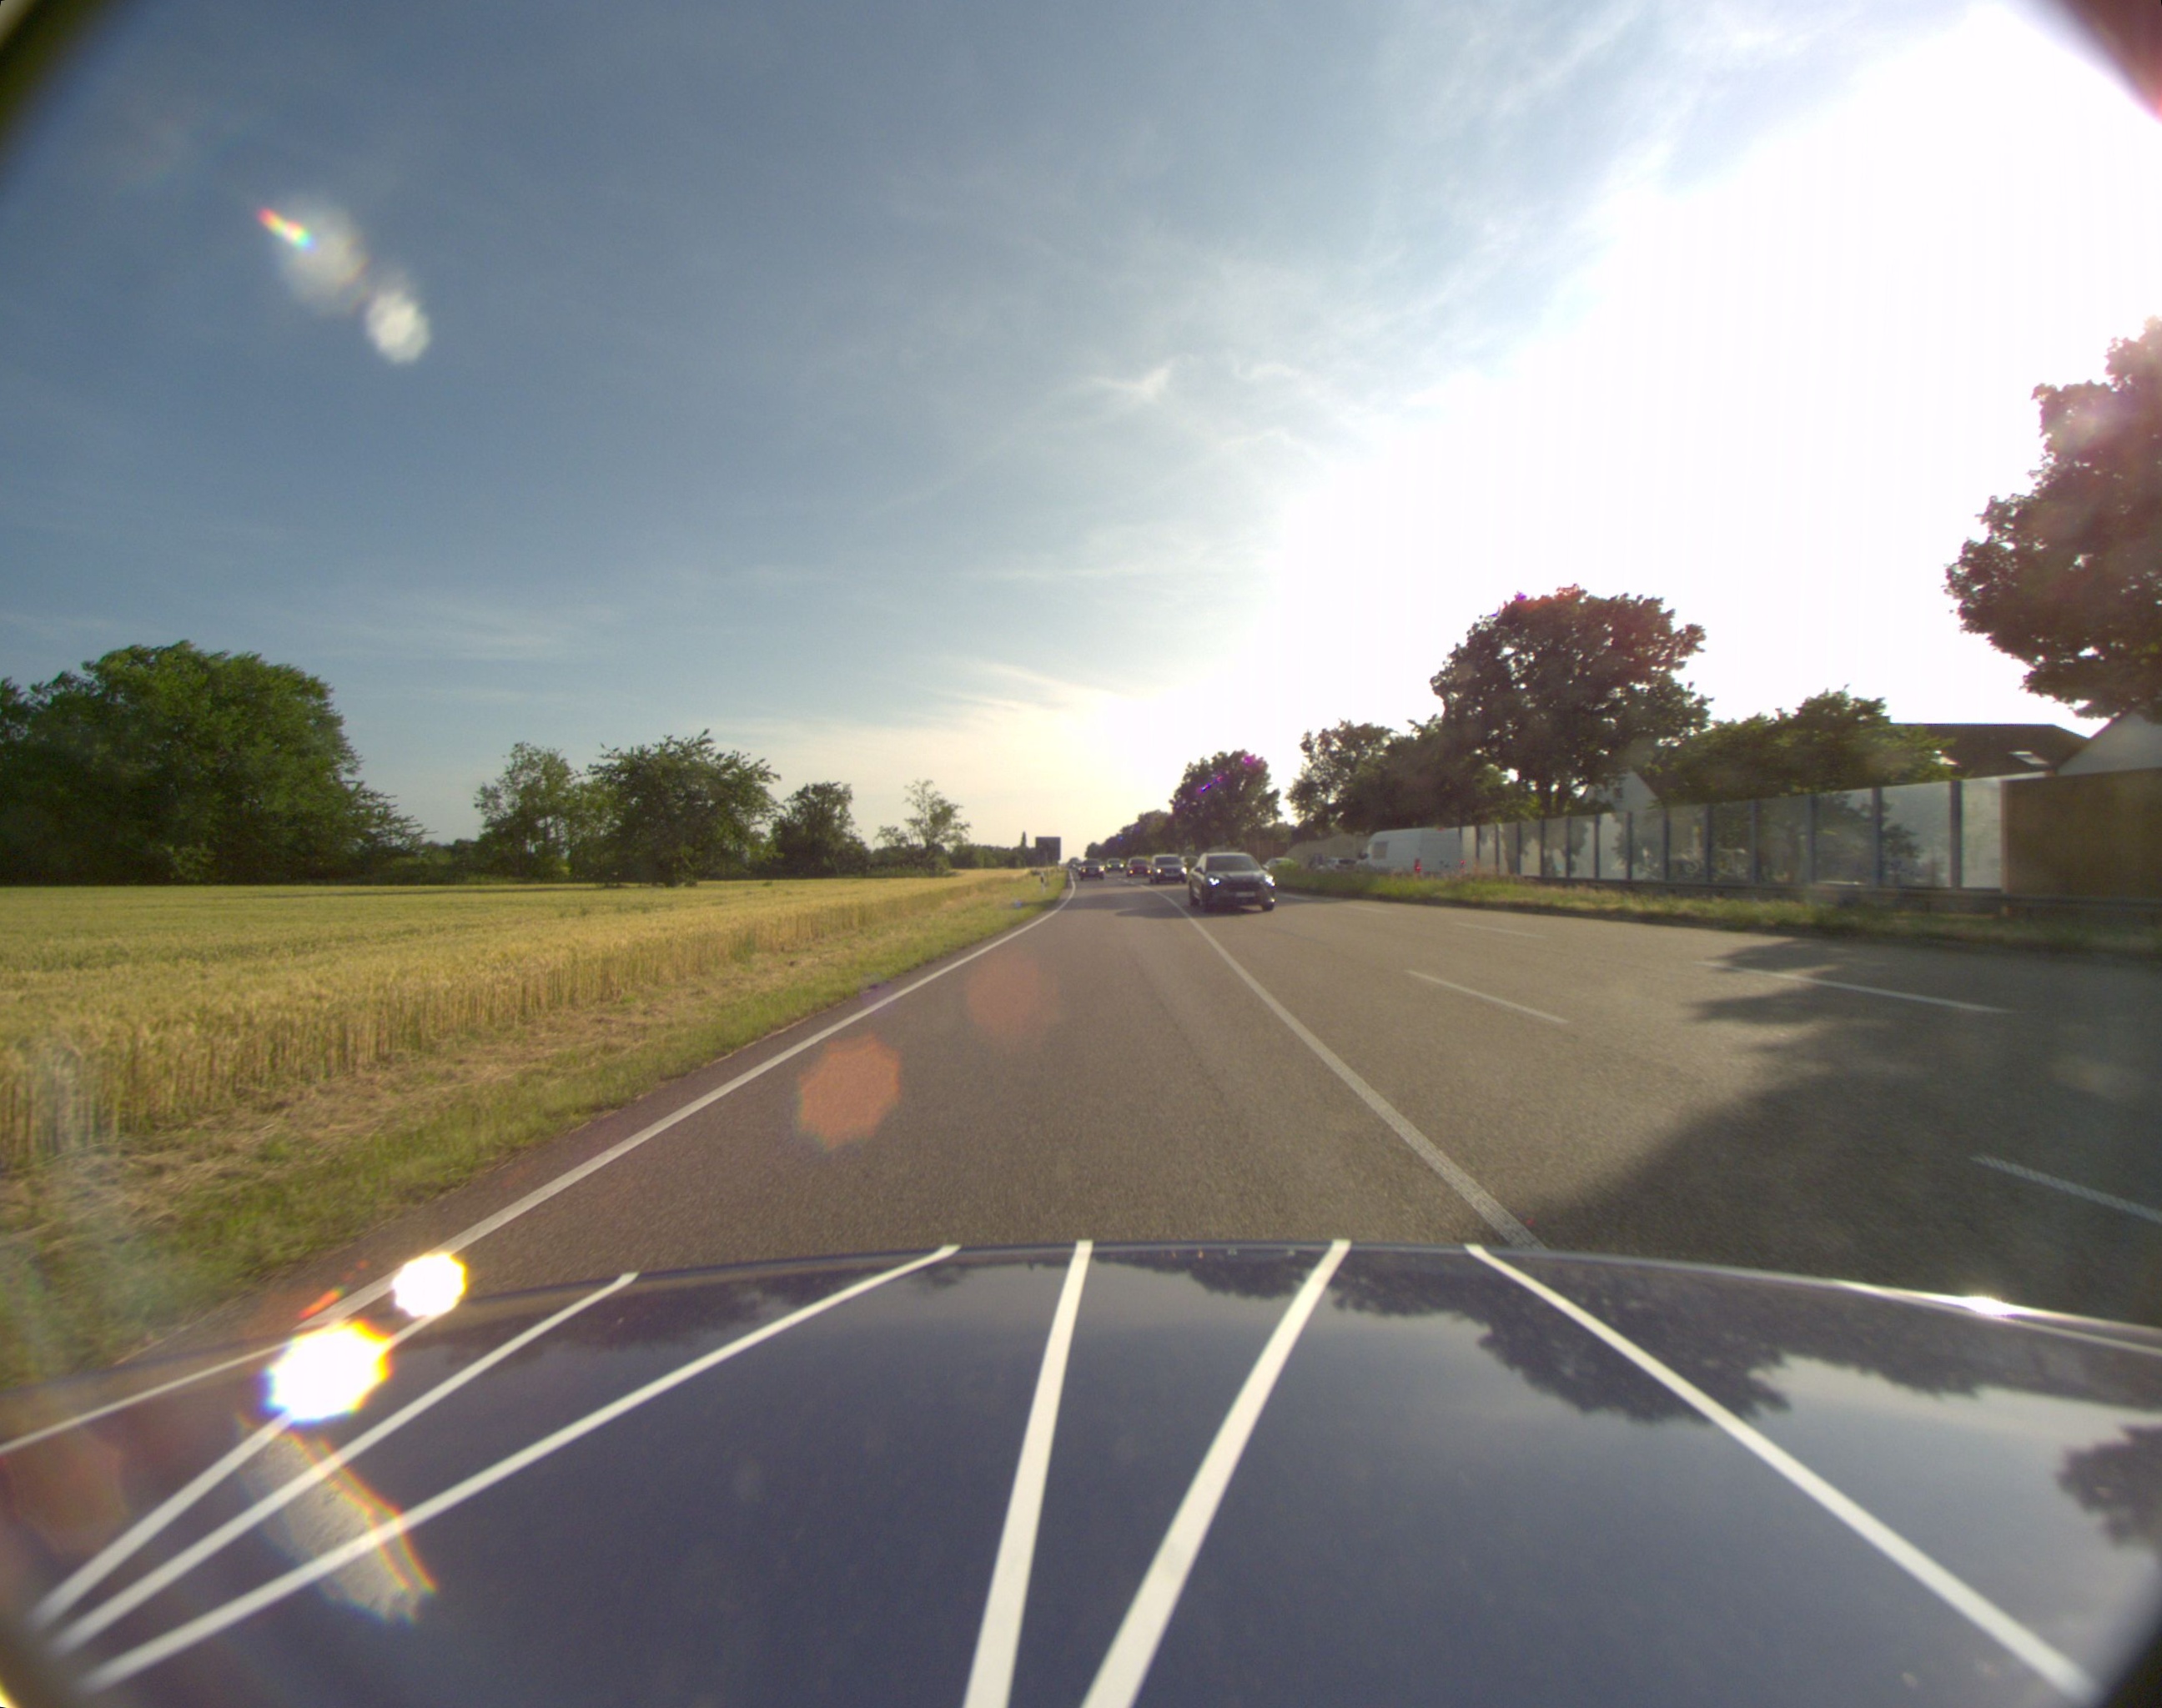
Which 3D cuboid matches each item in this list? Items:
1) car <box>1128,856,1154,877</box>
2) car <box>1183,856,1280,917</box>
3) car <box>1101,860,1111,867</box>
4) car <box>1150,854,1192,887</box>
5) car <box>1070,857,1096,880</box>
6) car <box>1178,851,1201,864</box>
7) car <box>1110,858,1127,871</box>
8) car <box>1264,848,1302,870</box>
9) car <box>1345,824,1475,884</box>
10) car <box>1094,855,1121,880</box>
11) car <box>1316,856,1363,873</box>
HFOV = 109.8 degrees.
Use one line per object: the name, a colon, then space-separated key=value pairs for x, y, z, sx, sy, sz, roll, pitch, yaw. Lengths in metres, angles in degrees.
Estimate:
car: x=5.137 y=1.028 z=65.195 sx=1.822 sy=1.661 sz=4.000 roll=-2 pitch=0 yaw=-1
car: x=4.142 y=0.846 z=21.623 sx=1.822 sy=1.516 sz=4.246 roll=-2 pitch=0 yaw=-1
car: x=4.756 y=1.813 z=145.296 sx=1.693 sy=1.397 sz=3.999 roll=-2 pitch=0 yaw=-1
car: x=5.126 y=0.926 z=43.839 sx=1.822 sy=1.724 sz=4.000 roll=-2 pitch=0 yaw=-1
car: x=0.121 y=1.064 z=57.957 sx=1.823 sy=1.661 sz=3.999 roll=-2 pitch=0 yaw=-1
car: x=13.363 y=0.469 z=93.735 sx=1.986 sy=1.475 sz=5.059 roll=-2 pitch=0 yaw=-2
car: x=4.617 y=1.300 z=94.269 sx=1.809 sy=1.499 sz=3.999 roll=-2 pitch=0 yaw=-2
car: x=13.876 y=0.355 z=52.415 sx=1.652 sy=1.433 sz=3.568 roll=-2 pitch=0 yaw=0
car: x=14.214 y=0.025 z=33.513 sx=2.354 sy=2.290 sz=7.189 roll=-2 pitch=0 yaw=-2
car: x=1.978 y=0.978 z=58.190 sx=1.806 sy=1.783 sz=4.000 roll=-2 pitch=0 yaw=0
car: x=17.821 y=0.698 z=52.586 sx=1.673 sy=1.099 sz=4.412 roll=-2 pitch=0 yaw=0
